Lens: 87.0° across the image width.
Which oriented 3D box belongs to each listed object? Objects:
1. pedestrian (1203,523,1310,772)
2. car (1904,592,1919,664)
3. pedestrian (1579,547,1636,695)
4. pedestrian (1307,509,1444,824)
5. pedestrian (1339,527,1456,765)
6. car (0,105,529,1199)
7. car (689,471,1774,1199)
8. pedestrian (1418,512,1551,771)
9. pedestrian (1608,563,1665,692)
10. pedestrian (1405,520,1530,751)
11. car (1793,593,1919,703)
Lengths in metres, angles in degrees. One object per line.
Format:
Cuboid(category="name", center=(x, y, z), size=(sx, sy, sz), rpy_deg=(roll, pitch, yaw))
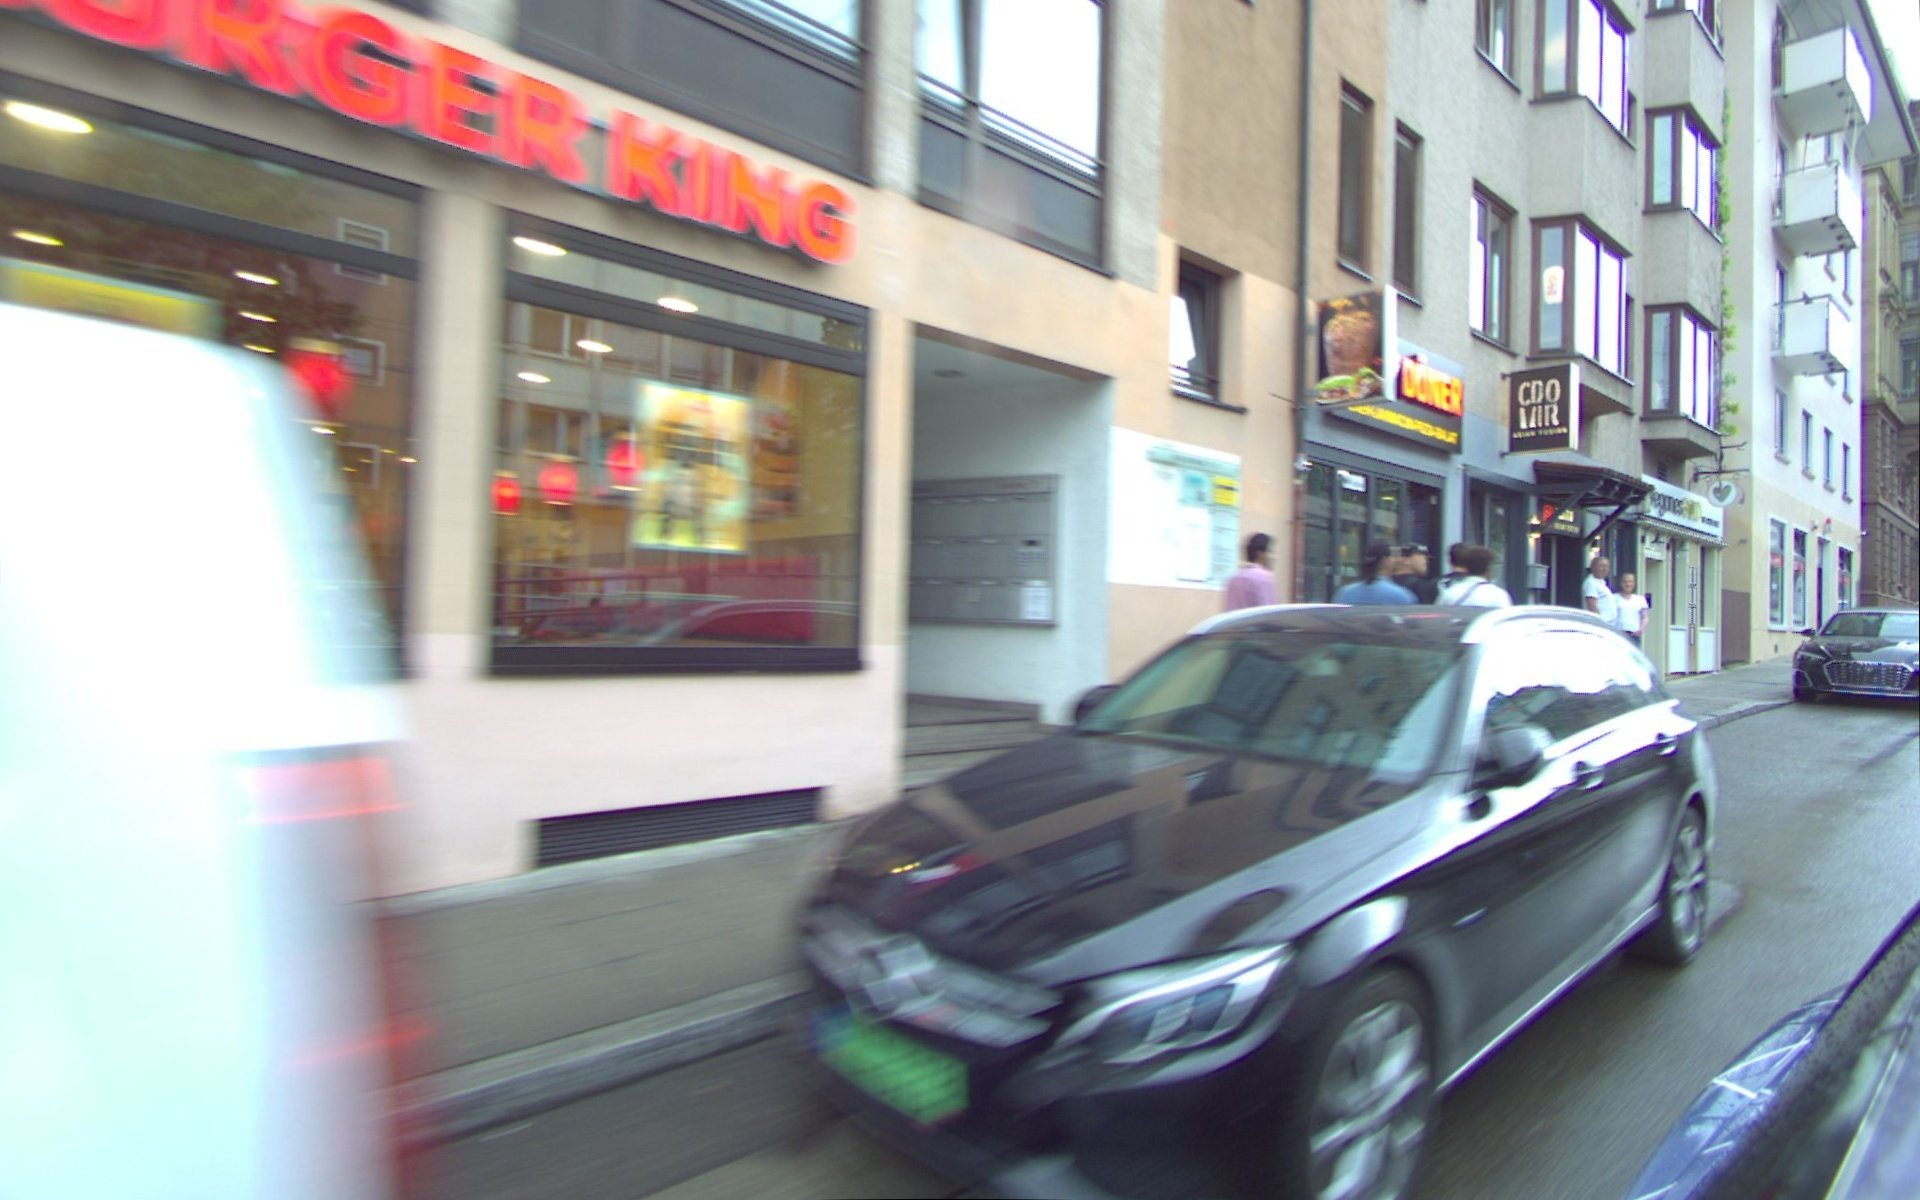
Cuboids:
Cuboid(category="pedestrian", center=(2.174, 0.323, 7.434), size=(0.469, 1.735, 0.577), rpy_deg=(0, 1, -39))
Cuboid(category="car", center=(21.392, 0.579, 21.467), size=(3.354, 1.480, 1.648), rpy_deg=(-1, 1, -41))
Cuboid(category="pedestrian", center=(8.515, 0.259, 13.300), size=(0.528, 1.881, 0.548), rpy_deg=(1, 1, 42))
Cuboid(category="pedestrian", center=(2.772, 0.407, 6.761), size=(0.524, 1.972, 0.653), rpy_deg=(0, 1, -39))
Cuboid(category="pedestrian", center=(3.354, 0.325, 7.773), size=(0.570, 1.735, 0.612), rpy_deg=(0, 1, -39))
Cuboid(category="car", center=(-2.790, 0.550, 0.122), size=(4.697, 1.829, 1.909), rpy_deg=(-1, 1, -43))
Cuboid(category="car", center=(1.402, 0.564, 3.876), size=(4.336, 1.636, 1.910), rpy_deg=(-1, 1, -41))
Cuboid(category="pedestrian", center=(4.053, 0.292, 7.833), size=(0.641, 1.878, 0.697), rpy_deg=(0, 1, -39))
Cuboid(category="pedestrian", center=(9.186, 0.354, 13.745), size=(0.544, 1.701, 0.587), rpy_deg=(1, 1, 42))
Cuboid(category="pedestrian", center=(4.278, 0.272, 8.546), size=(0.577, 1.842, 0.757), rpy_deg=(0, 1, -39))
Cuboid(category="car", center=(14.441, 0.647, 15.548), size=(4.172, 1.480, 1.910), rpy_deg=(-1, 1, -42))
